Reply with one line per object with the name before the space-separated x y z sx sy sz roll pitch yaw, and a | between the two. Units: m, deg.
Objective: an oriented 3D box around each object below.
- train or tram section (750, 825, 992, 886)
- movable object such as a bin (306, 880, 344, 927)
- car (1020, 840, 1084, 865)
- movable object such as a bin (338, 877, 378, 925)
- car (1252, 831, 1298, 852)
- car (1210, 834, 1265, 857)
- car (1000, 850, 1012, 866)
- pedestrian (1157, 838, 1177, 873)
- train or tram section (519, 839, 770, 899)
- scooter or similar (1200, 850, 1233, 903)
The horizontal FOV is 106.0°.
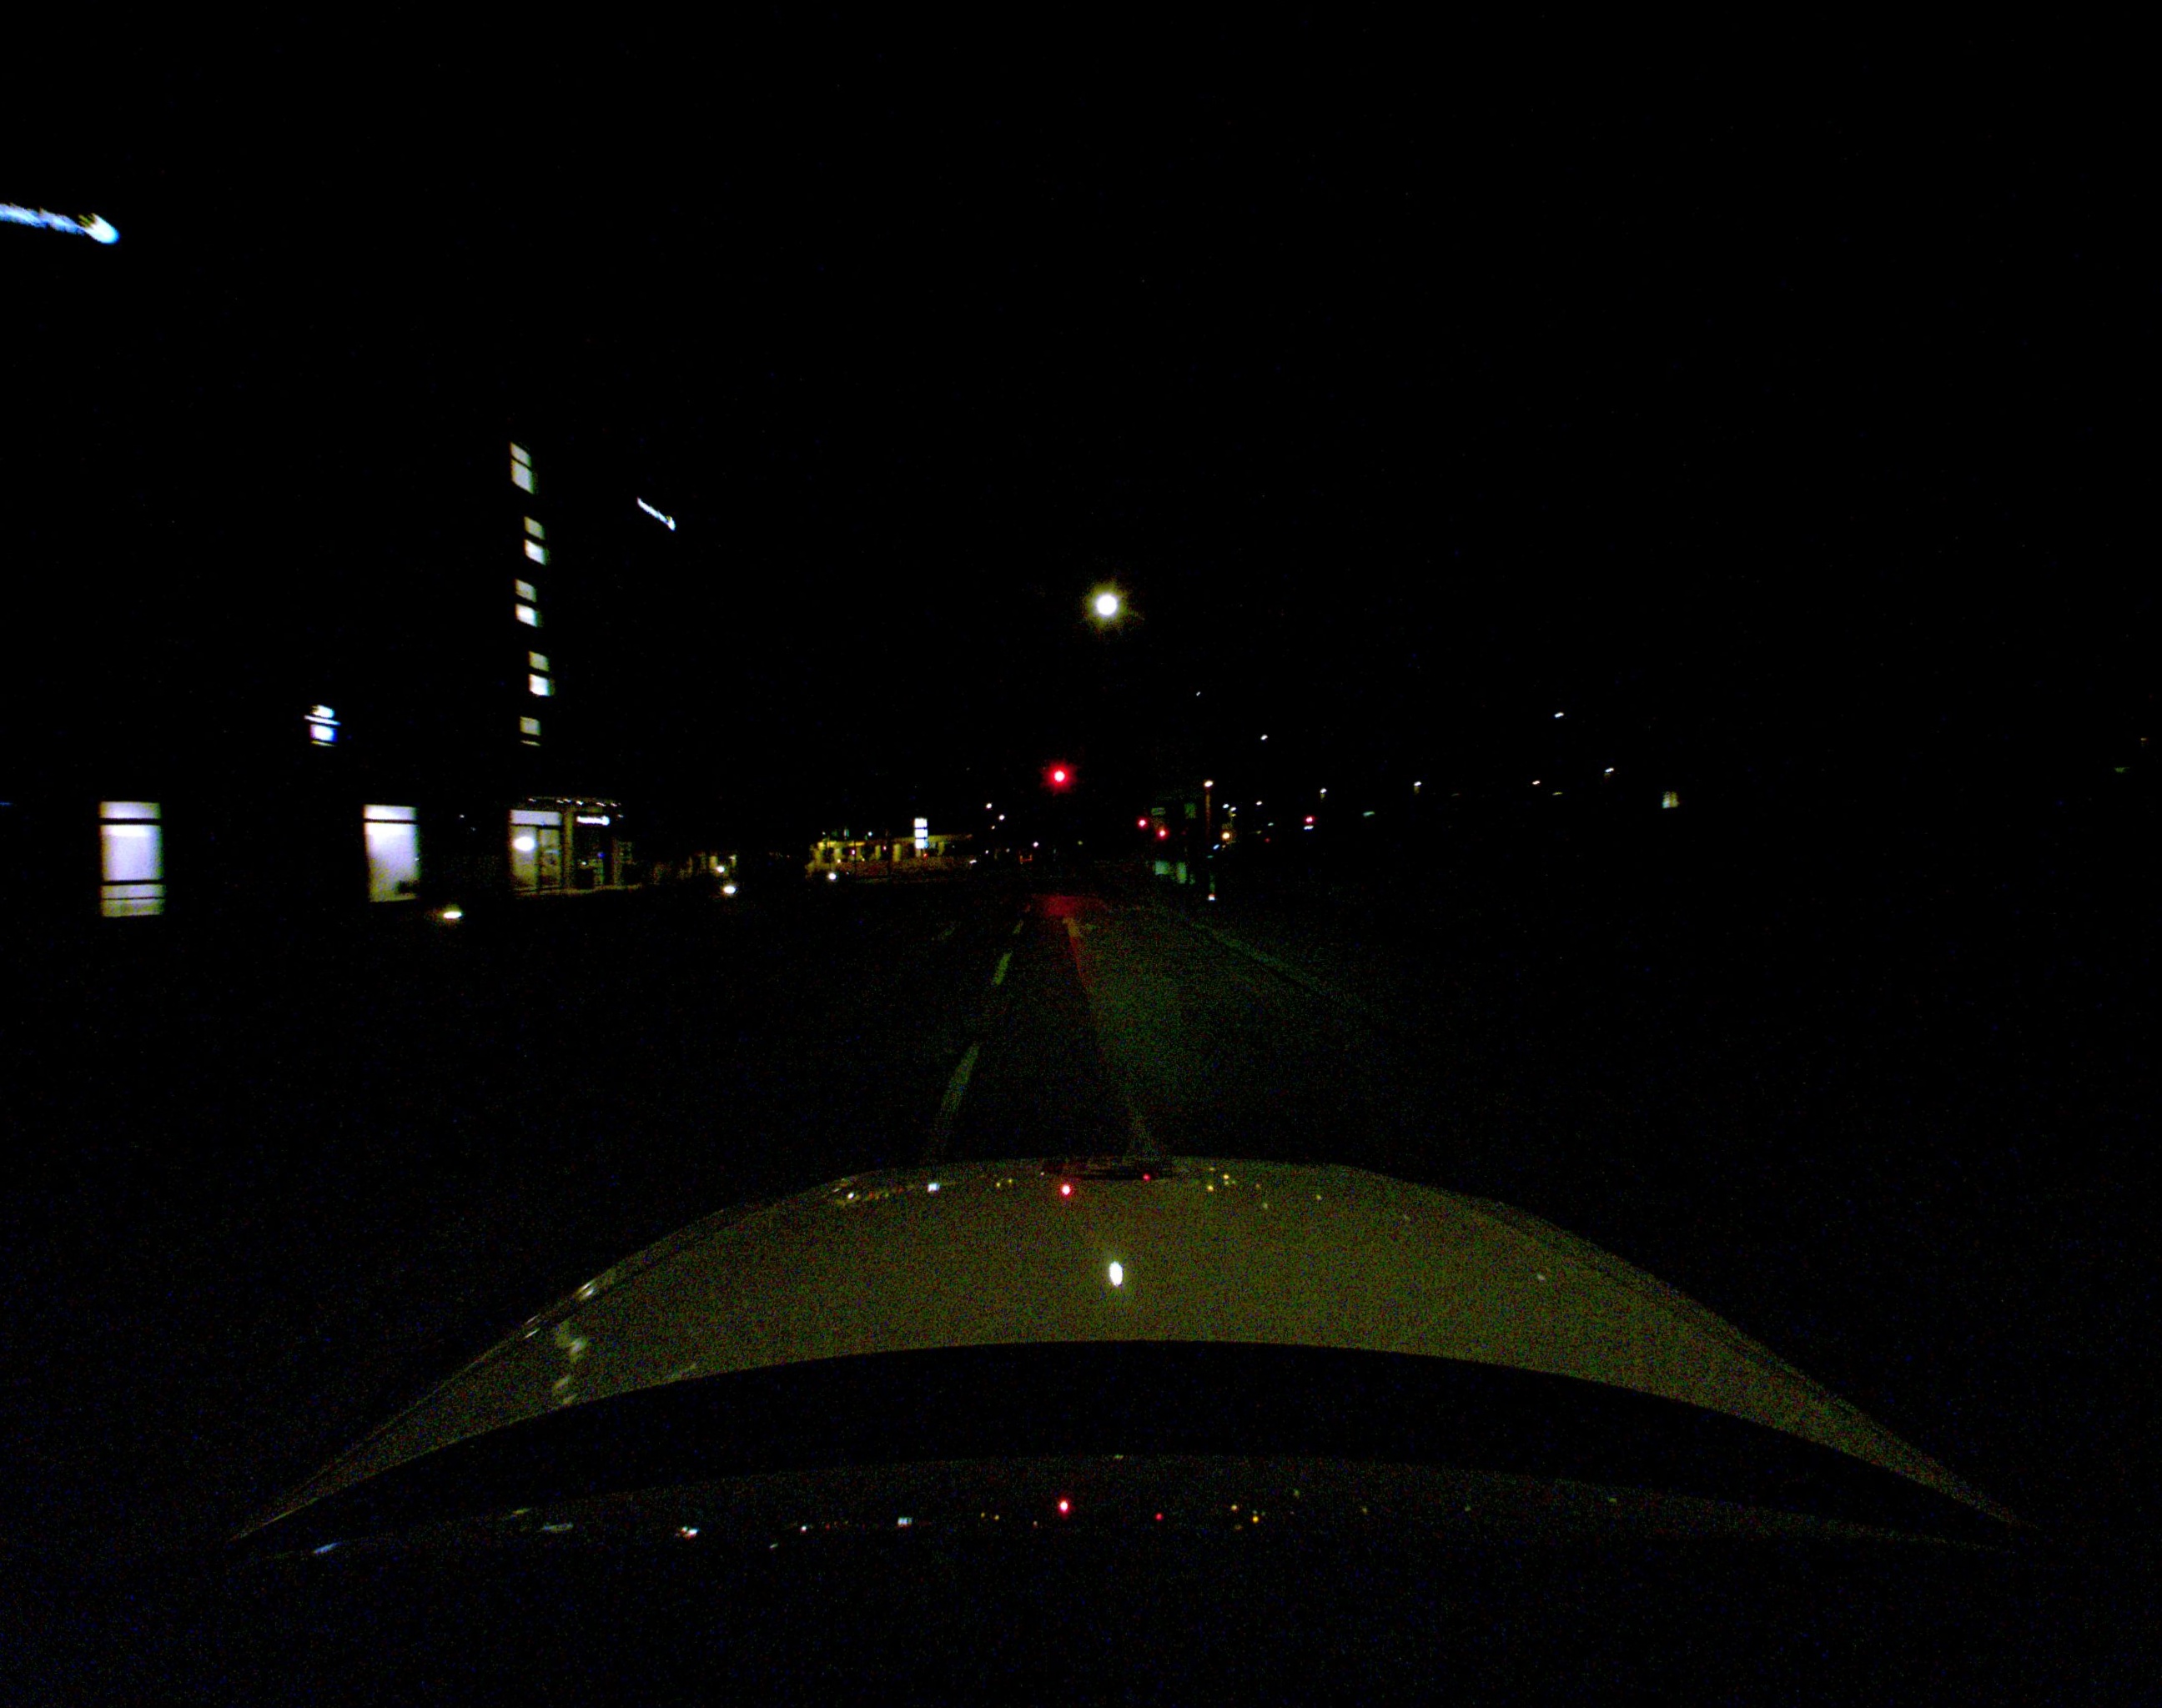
train or tram section | -17.228 0.161 67.319 19.090 3.823 2.926 -3 0 3
movable object such as a bin | -23.482 1.523 25.311 0.355 1.370 0.732 -3 3 0
car | -6.089 -0.264 170.111 12.411 4.709 4.783 -3 0 -16
movable object such as a bin | -23.272 1.499 26.236 0.439 1.451 0.809 -3 1 2
car | 18.494 -1.162 77.848 4.037 1.615 1.872 -5 0 6
car | 14.245 -0.741 74.256 4.593 1.640 2.002 -5 0 3
car | -14.457 0.826 157.002 1.992 2.973 3.990 -3 0 -7
pedestrian | 4.421 0.094 42.047 0.896 1.712 0.775 -4 -1 4
train or tram section | -36.550 1.225 68.423 19.707 3.861 2.943 -3 0 3
scooter or similar | 3.419 0.548 20.625 0.492 1.262 1.319 -5 0 0
